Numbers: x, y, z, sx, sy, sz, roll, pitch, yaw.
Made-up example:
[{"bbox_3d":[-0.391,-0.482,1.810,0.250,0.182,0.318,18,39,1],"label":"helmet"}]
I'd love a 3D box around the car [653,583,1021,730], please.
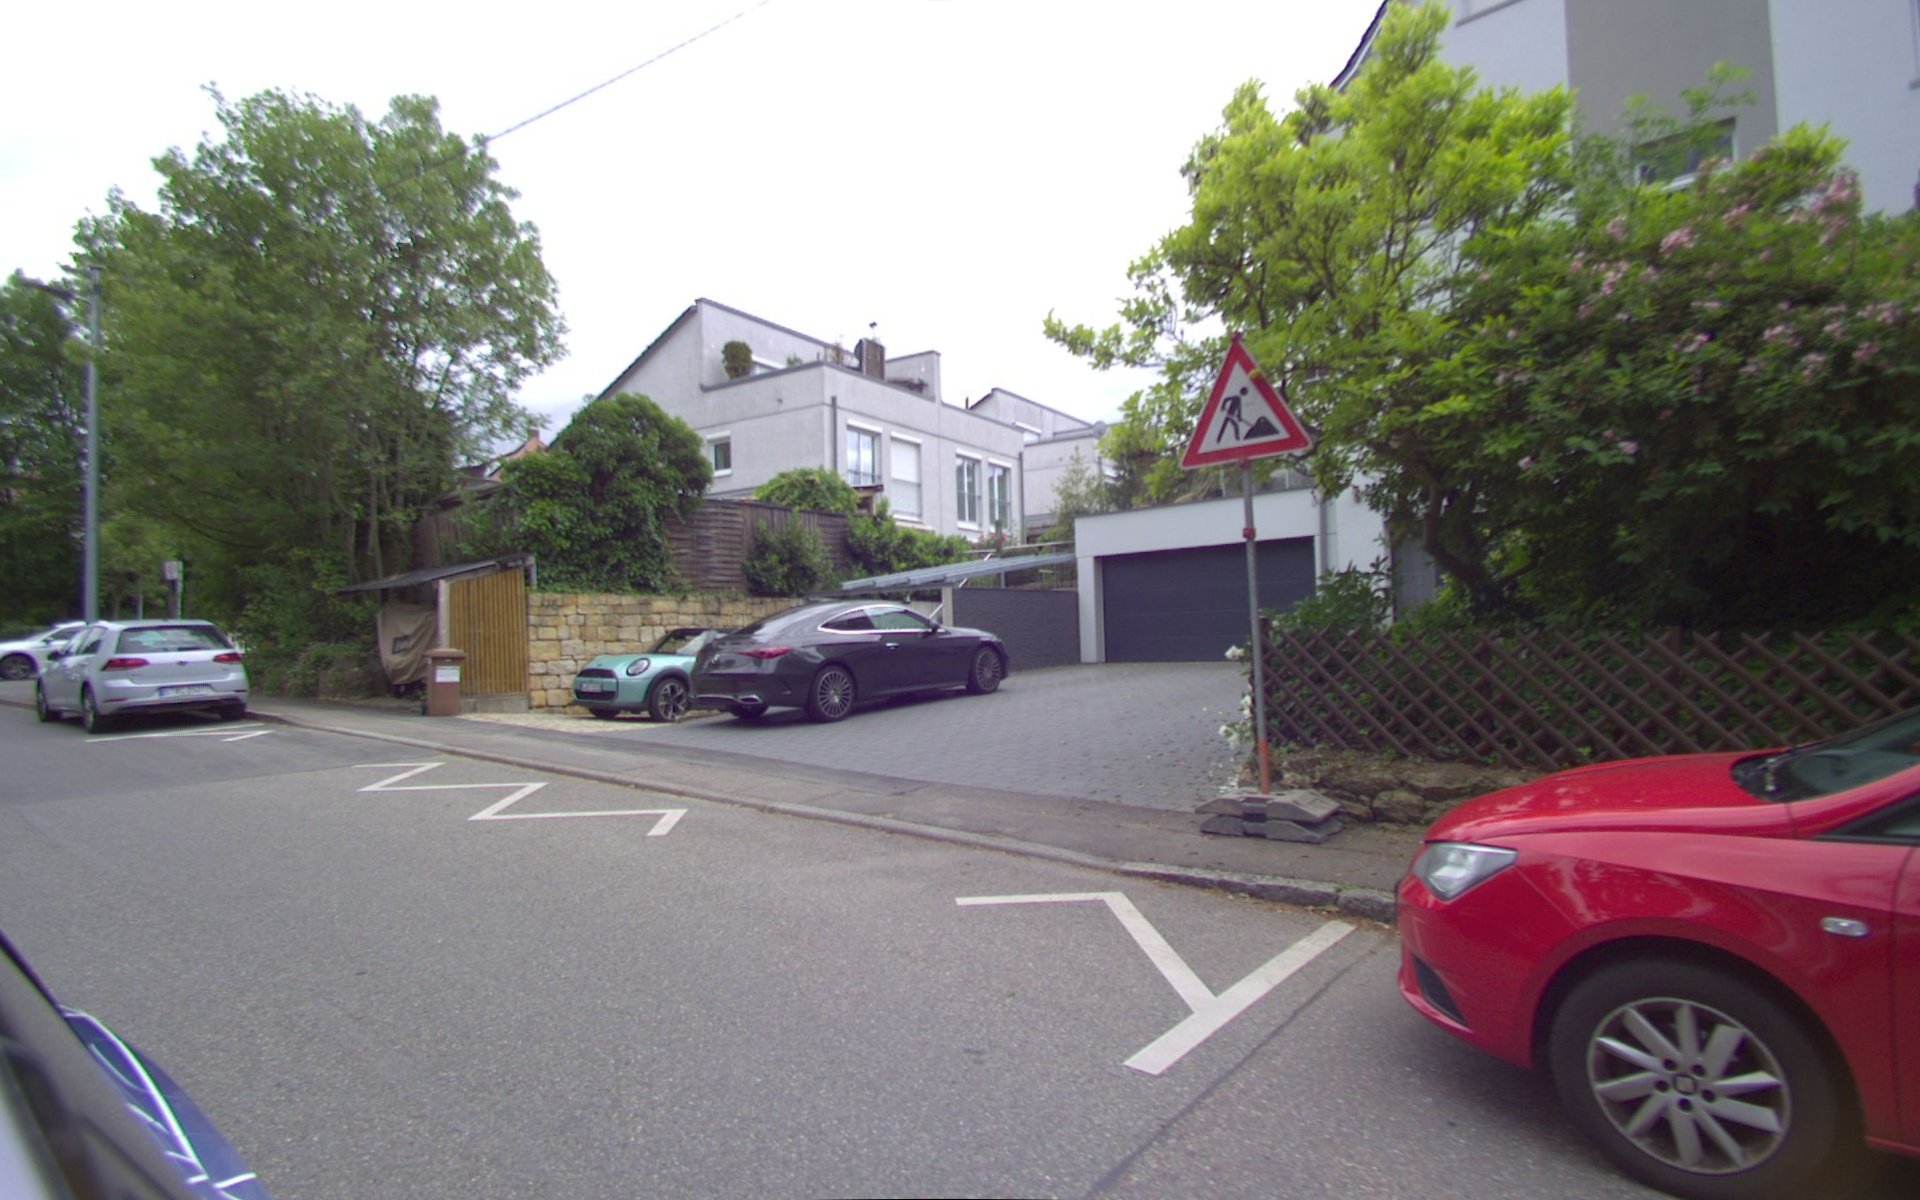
[{"bbox_3d":[-1.396,0.608,13.089,1.890,1.397,4.557,-3,1,42],"label":"car"}]

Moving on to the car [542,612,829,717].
[{"bbox_3d":[-4.077,1.040,15.553,1.820,1.397,3.915,-3,-6,38],"label":"car"}]

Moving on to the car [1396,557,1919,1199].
[{"bbox_3d":[3.220,0.606,2.243,3.785,1.450,1.718,-2,-1,41],"label":"car"}]

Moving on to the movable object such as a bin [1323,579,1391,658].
[{"bbox_3d":[6.162,0.293,15.706,0.767,1.195,0.717,-2,-3,40],"label":"movable object such as a bin"}]

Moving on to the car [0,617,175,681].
[{"bbox_3d":[-26.749,1.425,30.419,1.998,1.701,4.648,-2,-1,39],"label":"car"}]

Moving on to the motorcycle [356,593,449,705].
[{"bbox_3d":[-8.426,0.719,15.258,1.910,1.594,0.478,-2,-1,37],"label":"motorcycle"}]

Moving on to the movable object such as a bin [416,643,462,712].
[{"bbox_3d":[-7.209,1.066,14.000,0.556,0.931,0.362,-2,-5,44],"label":"movable object such as a bin"}]

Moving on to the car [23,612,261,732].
[{"bbox_3d":[-11.798,0.945,14.519,4.037,1.460,1.744,-2,-1,37],"label":"car"}]
